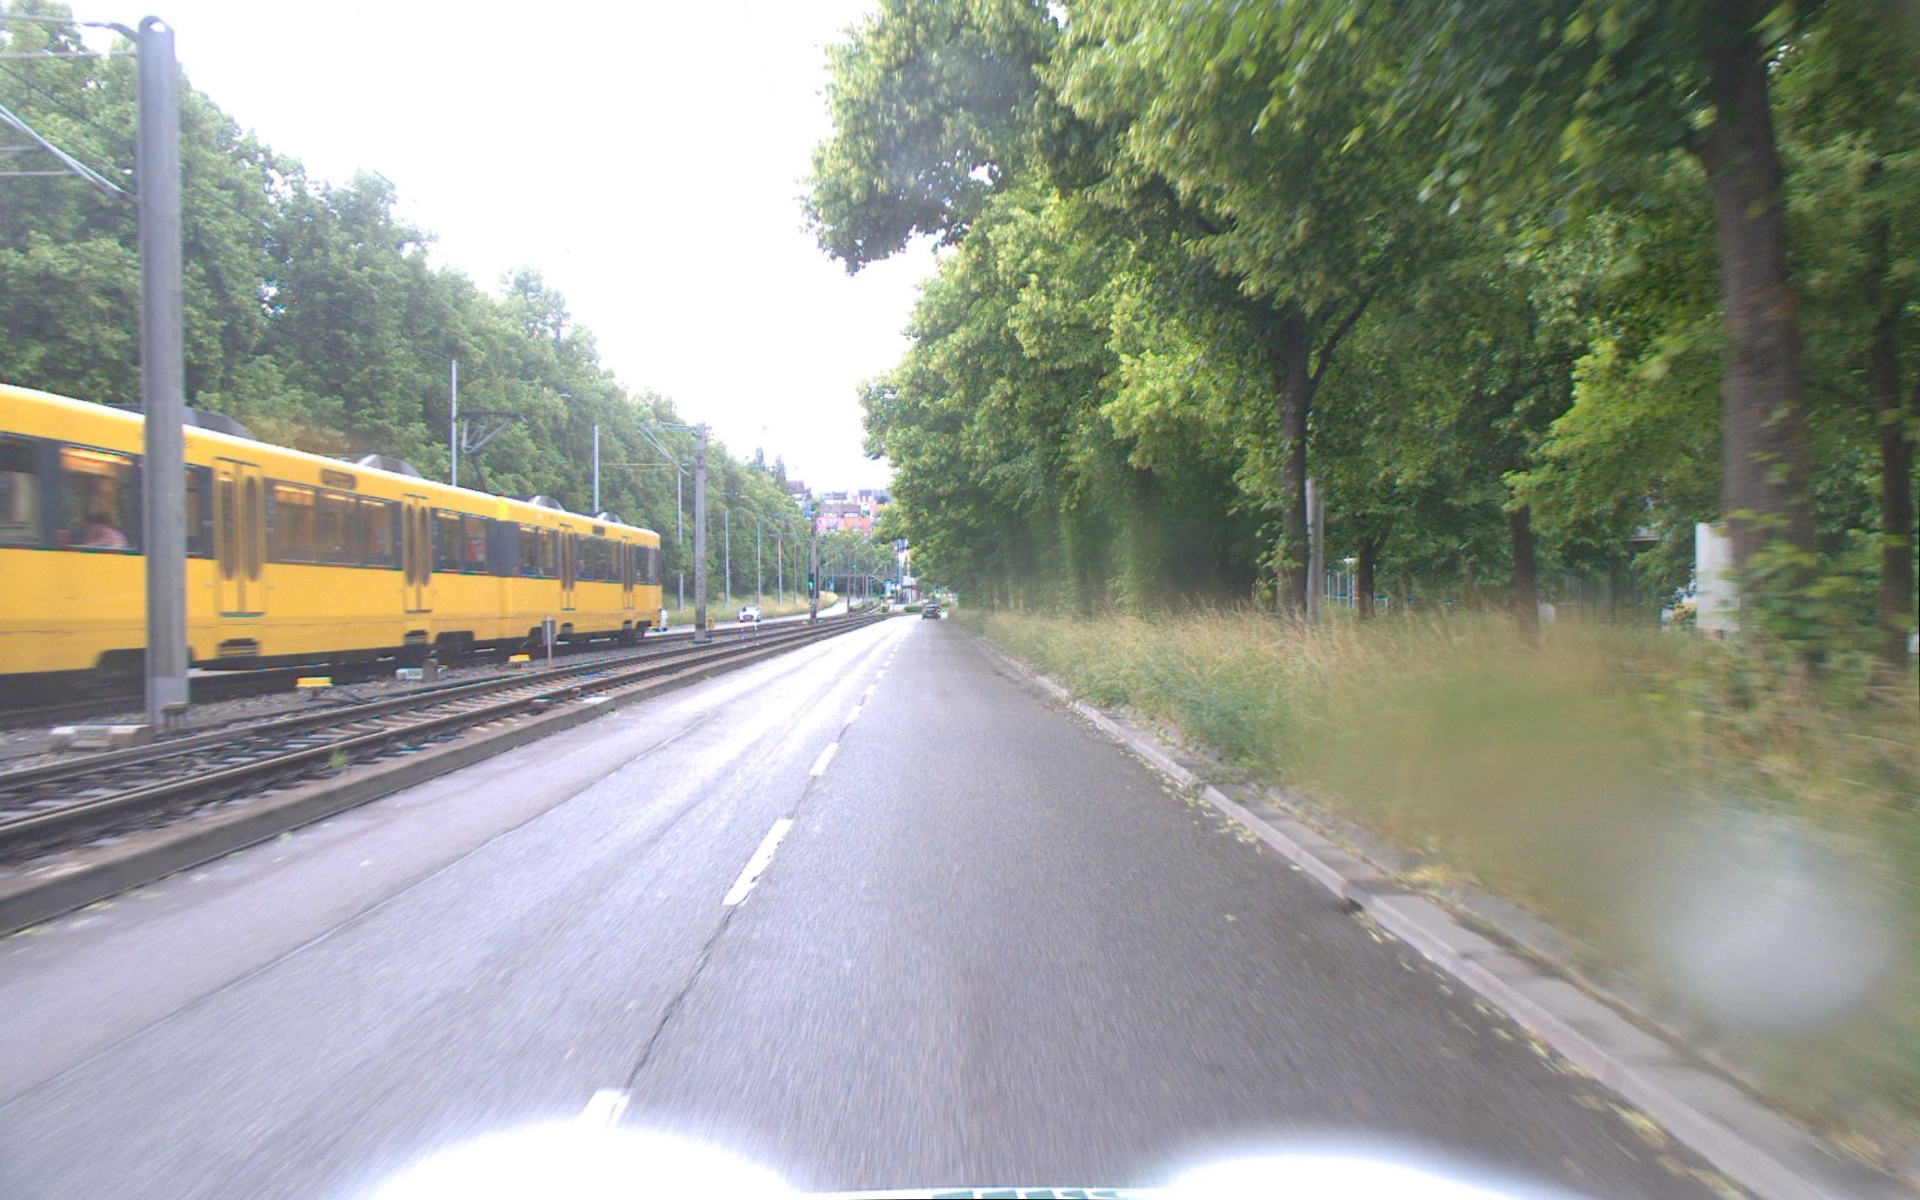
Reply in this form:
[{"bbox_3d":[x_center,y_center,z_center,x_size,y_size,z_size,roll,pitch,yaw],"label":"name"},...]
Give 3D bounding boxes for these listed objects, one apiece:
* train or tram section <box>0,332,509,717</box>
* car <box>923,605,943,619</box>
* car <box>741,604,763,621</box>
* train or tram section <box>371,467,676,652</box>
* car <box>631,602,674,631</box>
[{"bbox_3d":[-11.055,-0.833,25.360,2.906,3.877,19.099,0,0,0],"label":"train or tram section"},{"bbox_3d":[-2.862,1.282,174.635,2.149,1.352,3.999,1,1,-2],"label":"car"},{"bbox_3d":[-18.679,1.130,148.792,1.446,1.461,3.908,-2,0,-1],"label":"car"},{"bbox_3d":[-10.895,-0.929,44.706,2.906,3.877,19.520,0,0,0],"label":"train or tram section"},{"bbox_3d":[-17.148,0.886,92.296,1.619,1.556,4.380,0,0,-1],"label":"car"}]
